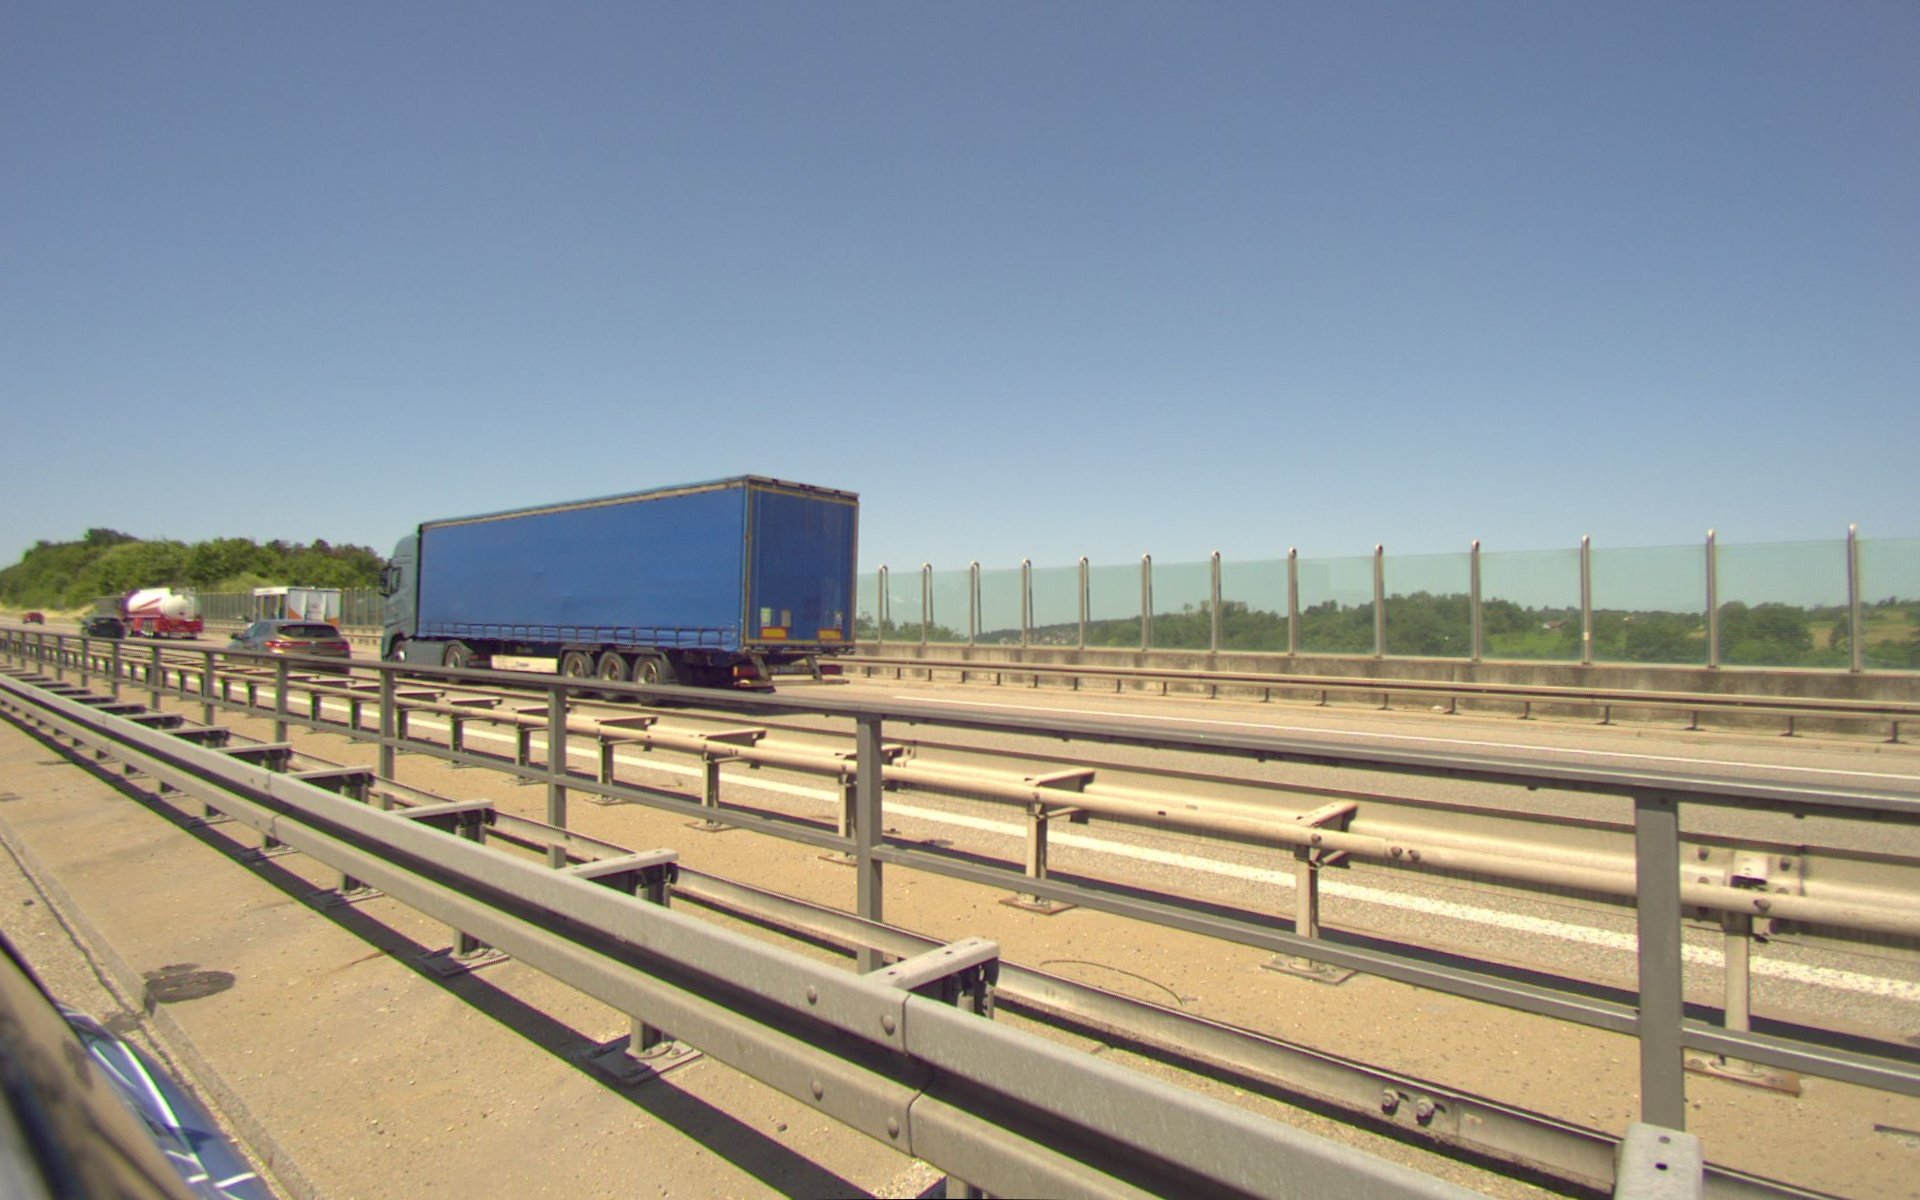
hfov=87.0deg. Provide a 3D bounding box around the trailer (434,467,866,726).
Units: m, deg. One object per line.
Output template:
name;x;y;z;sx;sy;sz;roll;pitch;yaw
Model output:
trailer;-7.160;0.006;21.378;12.043;4.197;2.676;0;-2;41

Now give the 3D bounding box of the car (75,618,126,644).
car;-51.424;1.845;60.530;3.850;1.510;1.779;0;-2;41

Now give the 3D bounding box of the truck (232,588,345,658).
truck;-33.830;1.127;50.830;8.291;3.213;2.535;0;-4;42

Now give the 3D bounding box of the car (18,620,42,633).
car;-115.038;3.248;125.193;3.999;1.431;1.763;0;-4;42

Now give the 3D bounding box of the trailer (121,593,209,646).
trailer;-56.112;1.327;71.256;12.006;3.405;2.845;0;-3;43

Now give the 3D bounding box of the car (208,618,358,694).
car;-16.072;1.254;23.963;4.186;1.563;1.863;0;0;40

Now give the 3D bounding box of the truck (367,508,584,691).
truck;-12.573;0.025;26.058;6.262;4.148;2.724;0;-2;41

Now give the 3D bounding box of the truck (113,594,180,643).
truck;-60.595;1.366;75.384;6.294;3.441;2.877;0;-3;43
